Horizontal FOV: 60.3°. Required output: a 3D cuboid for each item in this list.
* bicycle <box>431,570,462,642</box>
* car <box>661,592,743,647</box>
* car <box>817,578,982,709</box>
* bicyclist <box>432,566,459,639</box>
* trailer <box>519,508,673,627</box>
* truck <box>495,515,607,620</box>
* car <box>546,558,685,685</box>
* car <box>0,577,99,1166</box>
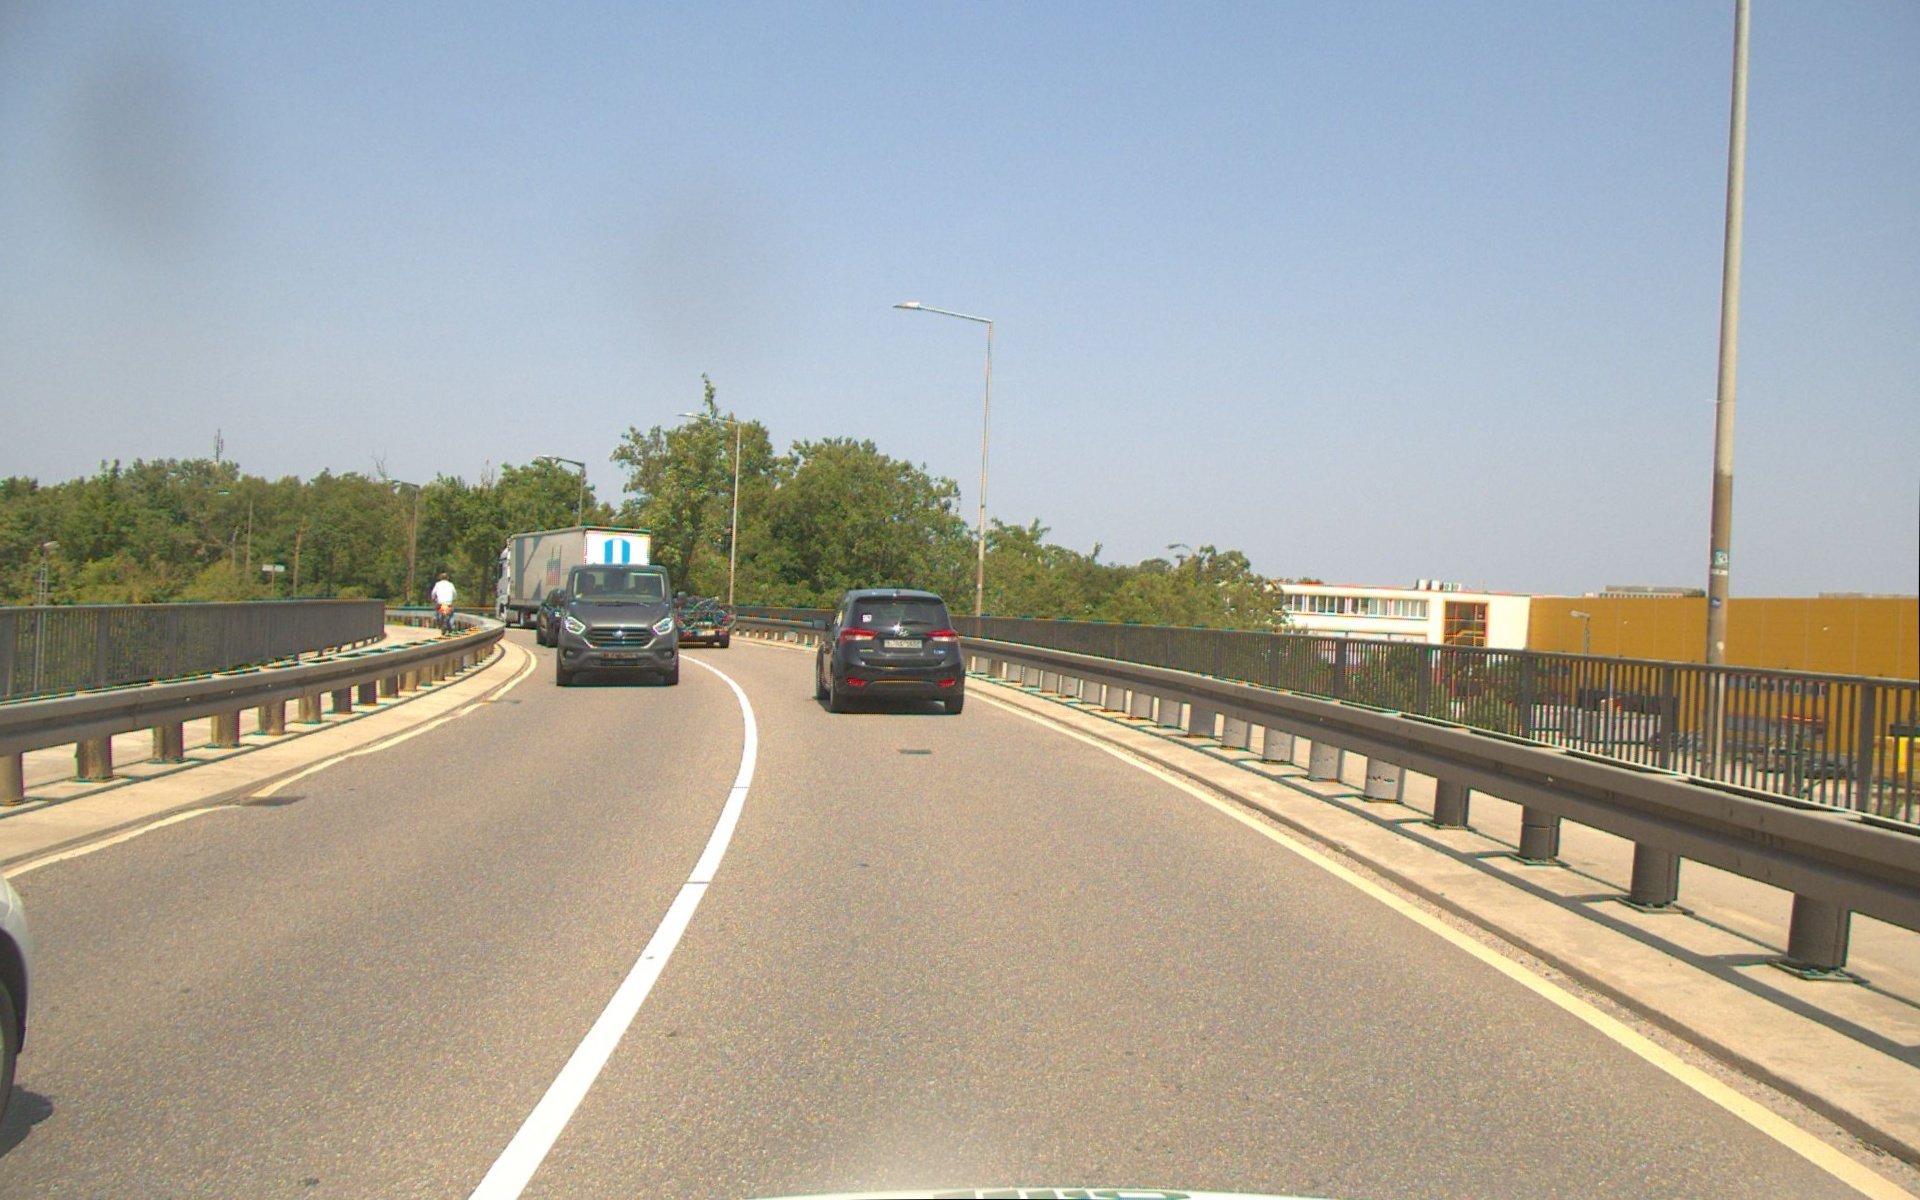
[{"bbox_3d":[-13.516,0.140,43.498,0.687,1.833,2.168,1,1,-20],"label":"bicycle"},{"bbox_3d":[-7.464,0.526,47.618,1.978,1.454,3.763,1,1,-14],"label":"car"},{"bbox_3d":[-0.915,0.521,22.630,1.885,1.601,3.885,1,1,-8],"label":"car"},{"bbox_3d":[-13.597,0.058,43.719,0.615,1.919,0.708,1,0,-20],"label":"bicyclist"},{"bbox_3d":[-15.169,-1.325,68.049,3.527,4.460,11.343,1,1,-26],"label":"trailer"},{"bbox_3d":[-18.562,-1.451,74.835,3.530,4.518,6.458,1,1,-27],"label":"truck"},{"bbox_3d":[-6.086,0.357,28.767,1.974,1.993,5.247,0,0,-16],"label":"car"},{"bbox_3d":[-3.164,0.697,2.899,1.631,1.489,3.484,1,1,-4],"label":"car"}]
